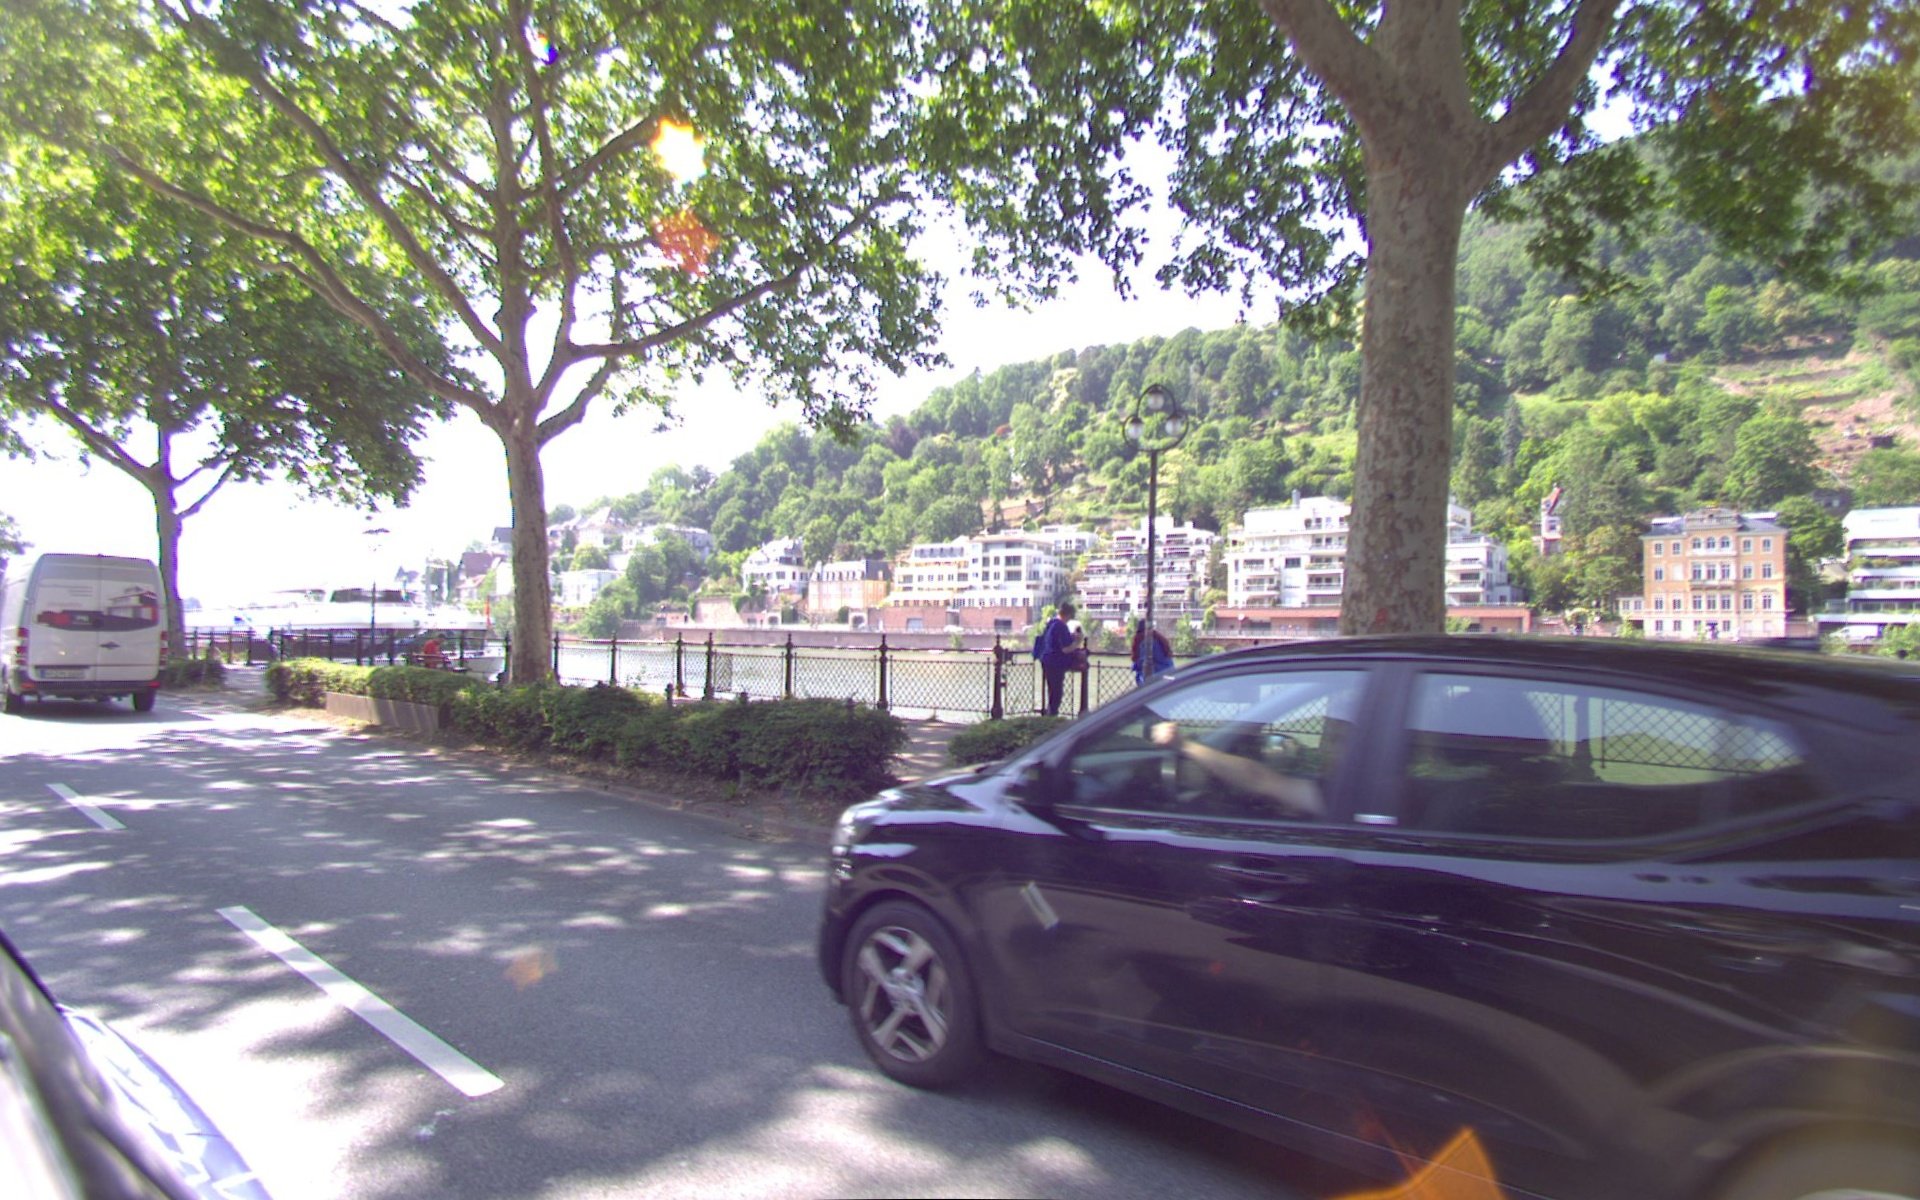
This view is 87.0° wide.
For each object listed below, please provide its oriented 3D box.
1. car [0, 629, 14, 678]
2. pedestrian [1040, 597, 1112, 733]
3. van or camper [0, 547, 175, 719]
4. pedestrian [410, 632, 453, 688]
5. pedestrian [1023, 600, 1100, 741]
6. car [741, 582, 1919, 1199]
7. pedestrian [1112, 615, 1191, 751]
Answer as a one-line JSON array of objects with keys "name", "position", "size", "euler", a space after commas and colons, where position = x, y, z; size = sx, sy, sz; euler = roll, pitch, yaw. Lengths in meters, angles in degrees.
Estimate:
[{"name": "car", "position": [-30.472, 1.585, 30.907], "size": [4.531, 1.468, 1.751], "euler": [-1, -4, 41]}, {"name": "pedestrian", "position": [1.610, 0.882, 14.032], "size": [0.705, 1.810, 0.696], "euler": [-1, -2, 43]}, {"name": "van or camper", "position": [-15.820, 0.590, 17.865], "size": [5.838, 2.587, 1.940], "euler": [-1, -4, 42]}, {"name": "pedestrian", "position": [-12.651, 1.429, 24.230], "size": [0.656, 1.318, 0.695], "euler": [-2, -4, 42]}, {"name": "pedestrian", "position": [1.311, 0.884, 13.012], "size": [0.705, 1.744, 0.696], "euler": [-1, -2, 43]}, {"name": "car", "position": [1.183, 0.755, 3.043], "size": [3.777, 1.480, 1.632], "euler": [-1, -3, 41]}, {"name": "pedestrian", "position": [2.383, 1.004, 12.557], "size": [0.705, 1.615, 0.696], "euler": [-1, -2, 43]}]
